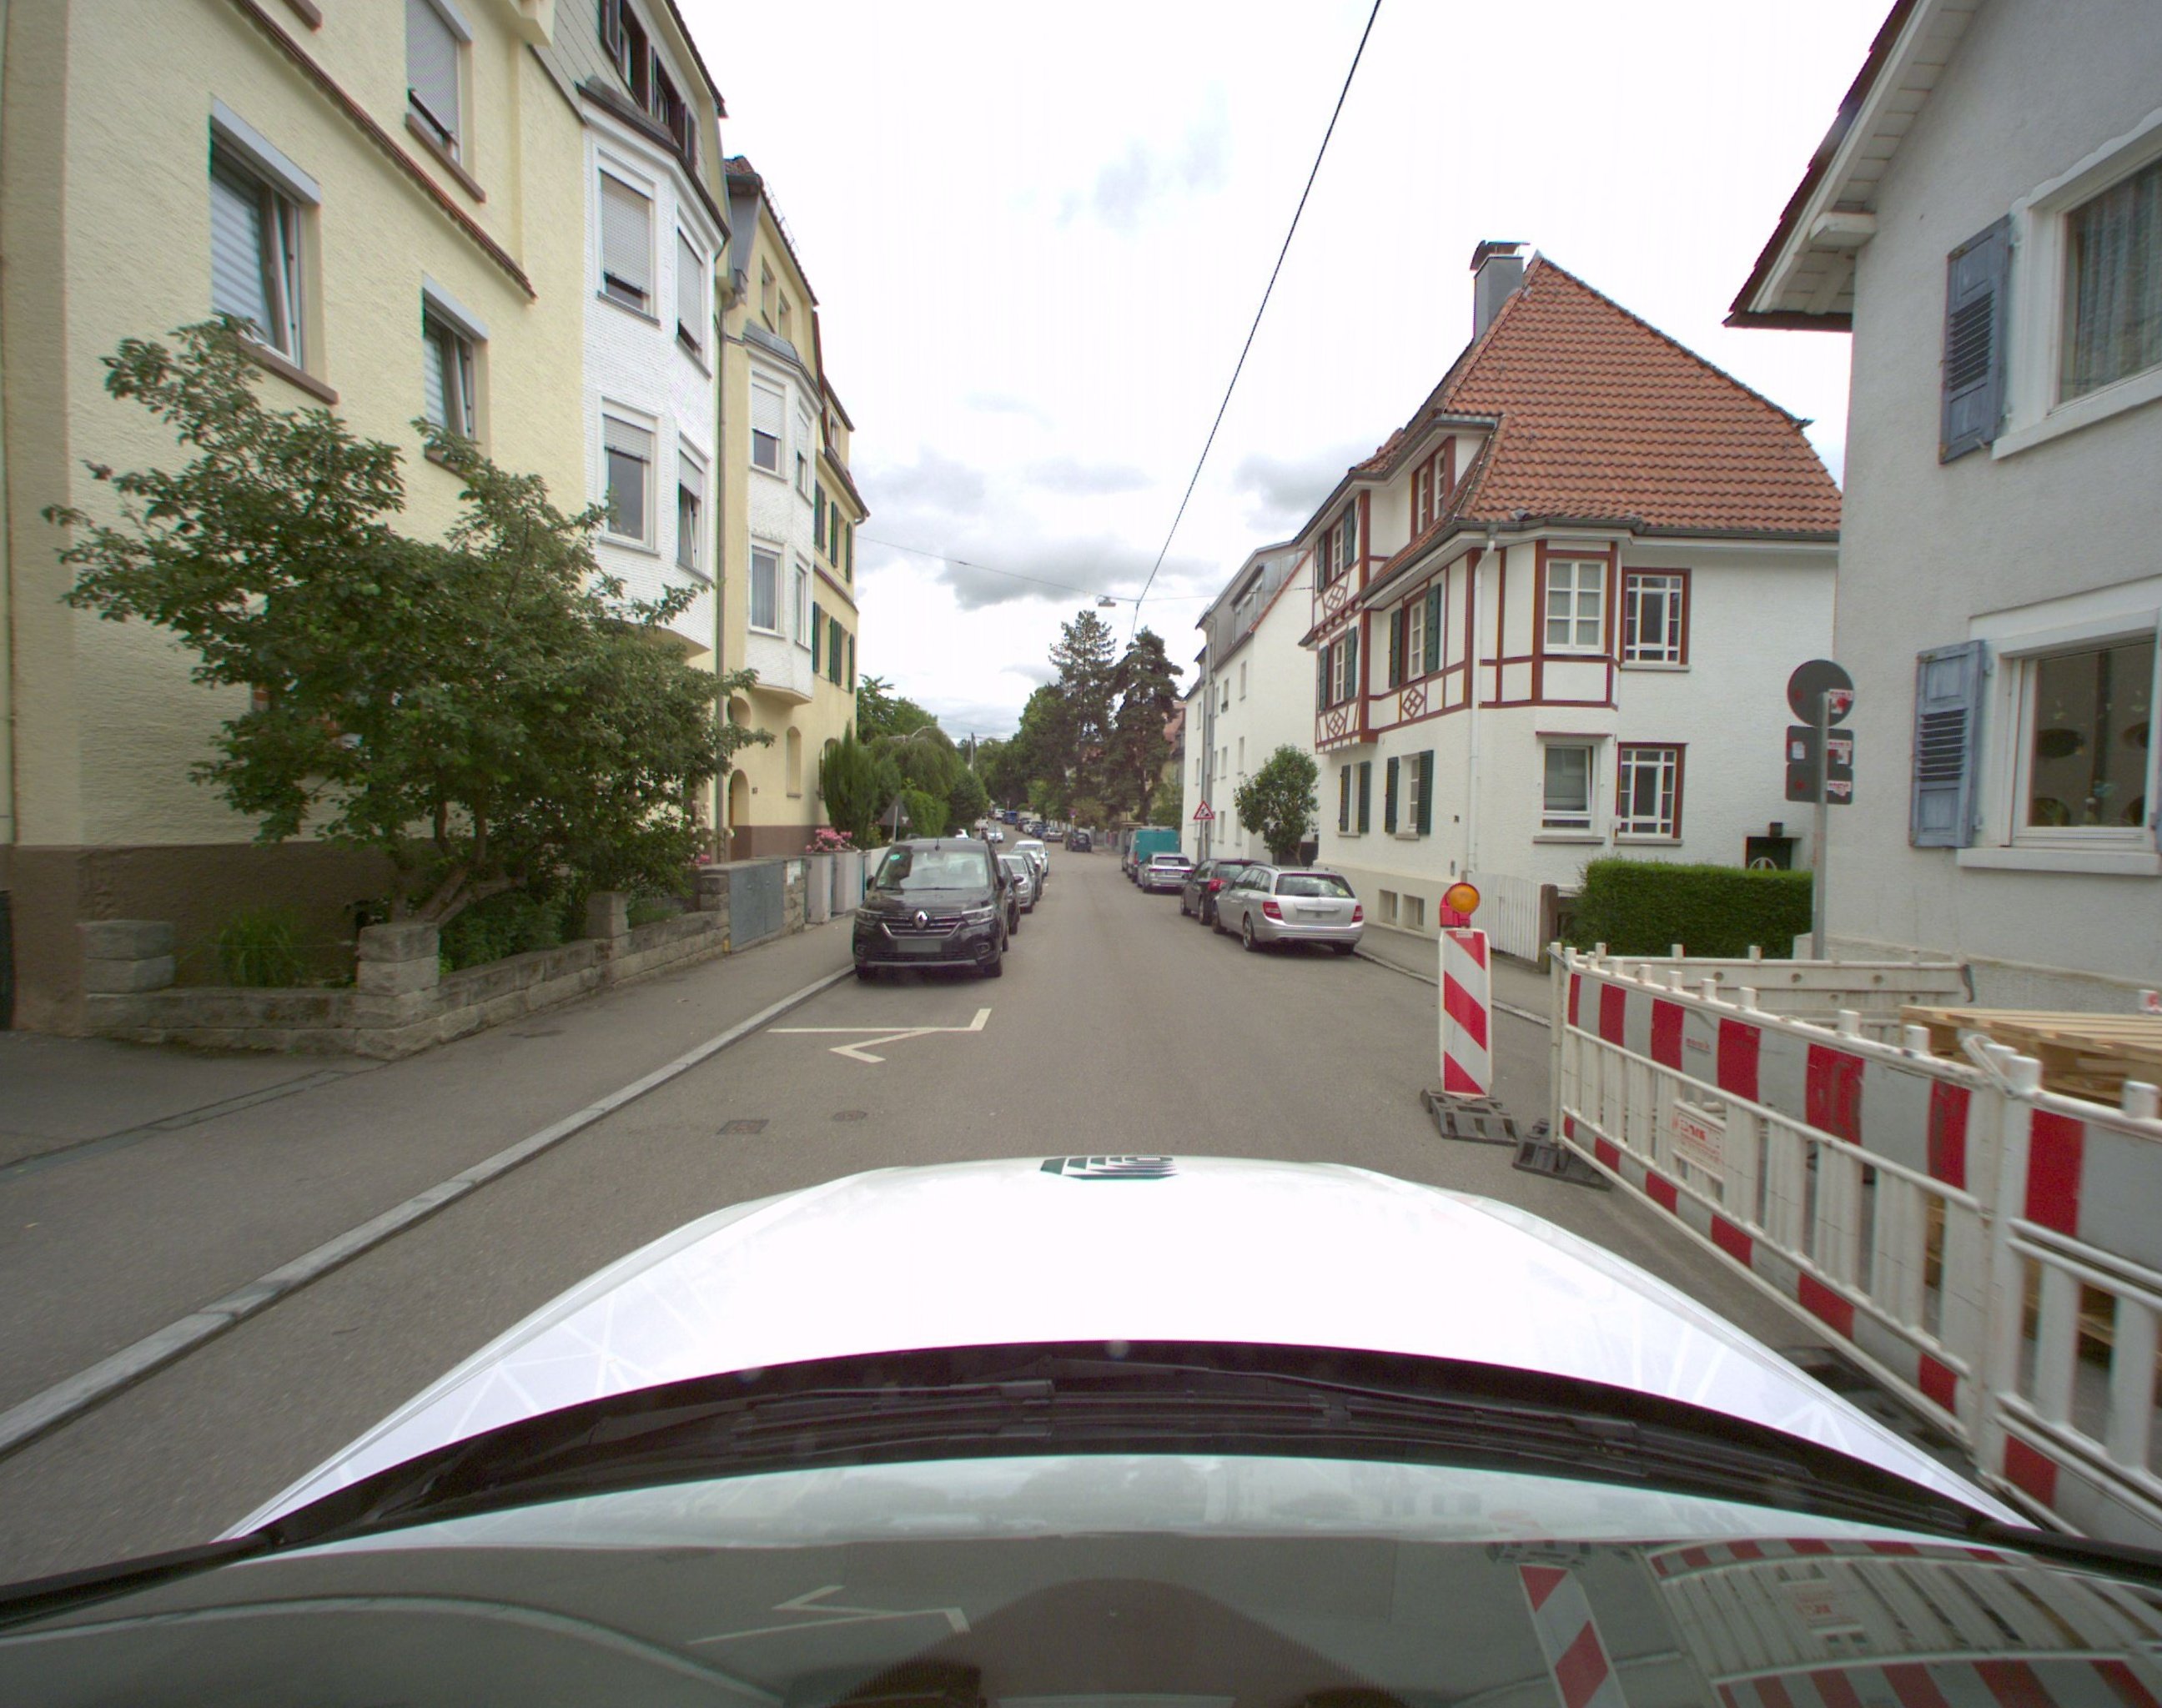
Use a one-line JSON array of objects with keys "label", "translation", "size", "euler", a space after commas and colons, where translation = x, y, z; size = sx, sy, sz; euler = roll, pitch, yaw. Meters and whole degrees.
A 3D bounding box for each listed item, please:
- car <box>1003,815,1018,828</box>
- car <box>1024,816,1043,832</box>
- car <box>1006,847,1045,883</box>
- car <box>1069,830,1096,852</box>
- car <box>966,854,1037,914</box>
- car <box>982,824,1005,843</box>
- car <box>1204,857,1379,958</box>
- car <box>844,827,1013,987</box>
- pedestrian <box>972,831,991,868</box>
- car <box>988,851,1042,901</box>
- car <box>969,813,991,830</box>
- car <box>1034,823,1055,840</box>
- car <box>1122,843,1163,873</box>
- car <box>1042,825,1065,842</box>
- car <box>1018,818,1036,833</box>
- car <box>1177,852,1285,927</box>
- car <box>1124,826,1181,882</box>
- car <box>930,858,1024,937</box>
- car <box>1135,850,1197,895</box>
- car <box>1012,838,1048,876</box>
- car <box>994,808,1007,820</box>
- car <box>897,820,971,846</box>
[{"label": "car", "translation": [-9.449, -4.407, 109.158], "size": [1.634, 1.537, 3.519], "euler": [2, 4, -10]}, {"label": "car", "translation": [-5.203, -3.299, 88.977], "size": [1.634, 1.537, 3.519], "euler": [2, 4, -10]}, {"label": "car", "translation": [-2.416, 0.435, 36.124], "size": [1.592, 1.412, 3.660], "euler": [0, 2, -2]}, {"label": "car", "translation": [0.073, -1.077, 66.769], "size": [1.634, 1.483, 3.521], "euler": [2, 4, -9]}, {"label": "car", "translation": [-2.025, 0.717, 21.701], "size": [1.638, 1.416, 3.981], "euler": [0, 0, -2]}, {"label": "car", "translation": [-8.144, -1.922, 75.687], "size": [1.675, 1.656, 3.846], "euler": [-1, 3, -14]}, {"label": "car", "translation": [3.558, 0.826, 14.658], "size": [1.814, 1.442, 4.448], "euler": [2, 0, -2]}, {"label": "car", "translation": [-1.918, 0.613, 11.551], "size": [1.841, 1.815, 4.537], "euler": [0, 0, -4]}, {"label": "pedestrian", "translation": [-5.369, -0.242, 43.917], "size": [0.788, 1.932, 0.919], "euler": [2, 1, 1]}, {"label": "car", "translation": [-2.075, 0.651, 26.456], "size": [1.592, 1.478, 3.988], "euler": [0, 0, -2]}, {"label": "car", "translation": [-11.725, -3.755, 94.011], "size": [1.907, 1.876, 4.573], "euler": [-1, 3, -15]}, {"label": "car", "translation": [-3.726, -2.325, 83.013], "size": [1.634, 1.483, 3.519], "euler": [2, 4, -10]}, {"label": "car", "translation": [3.197, 0.161, 42.825], "size": [1.720, 1.448, 3.878], "euler": [1, 1, -2]}, {"label": "car", "translation": [-2.660, -1.995, 78.403], "size": [1.634, 1.483, 3.519], "euler": [2, 4, -10]}, {"label": "car", "translation": [-6.292, -3.379, 94.834], "size": [1.634, 1.537, 3.519], "euler": [2, 4, -10]}, {"label": "car", "translation": [3.424, 0.755, 19.310], "size": [1.685, 1.519, 3.877], "euler": [2, 0, -2]}, {"label": "car", "translation": [3.129, -0.050, 36.568], "size": [1.975, 2.362, 4.274], "euler": [1, 1, -2]}, {"label": "car", "translation": [-2.027, 0.792, 16.765], "size": [1.638, 1.387, 3.855], "euler": [0, 0, -3]}, {"label": "car", "translation": [3.079, 0.635, 30.217], "size": [1.720, 1.448, 3.878], "euler": [1, 1, -2]}, {"label": "car", "translation": [-2.482, 0.114, 40.197], "size": [1.668, 1.656, 3.861], "euler": [0, 3, -2]}, {"label": "car", "translation": [-11.822, -5.876, 119.250], "size": [1.634, 1.537, 3.519], "euler": [2, 4, -10]}, {"label": "car", "translation": [-10.123, -1.429, 56.314], "size": [1.975, 1.640, 4.842], "euler": [3, 1, 41]}]
